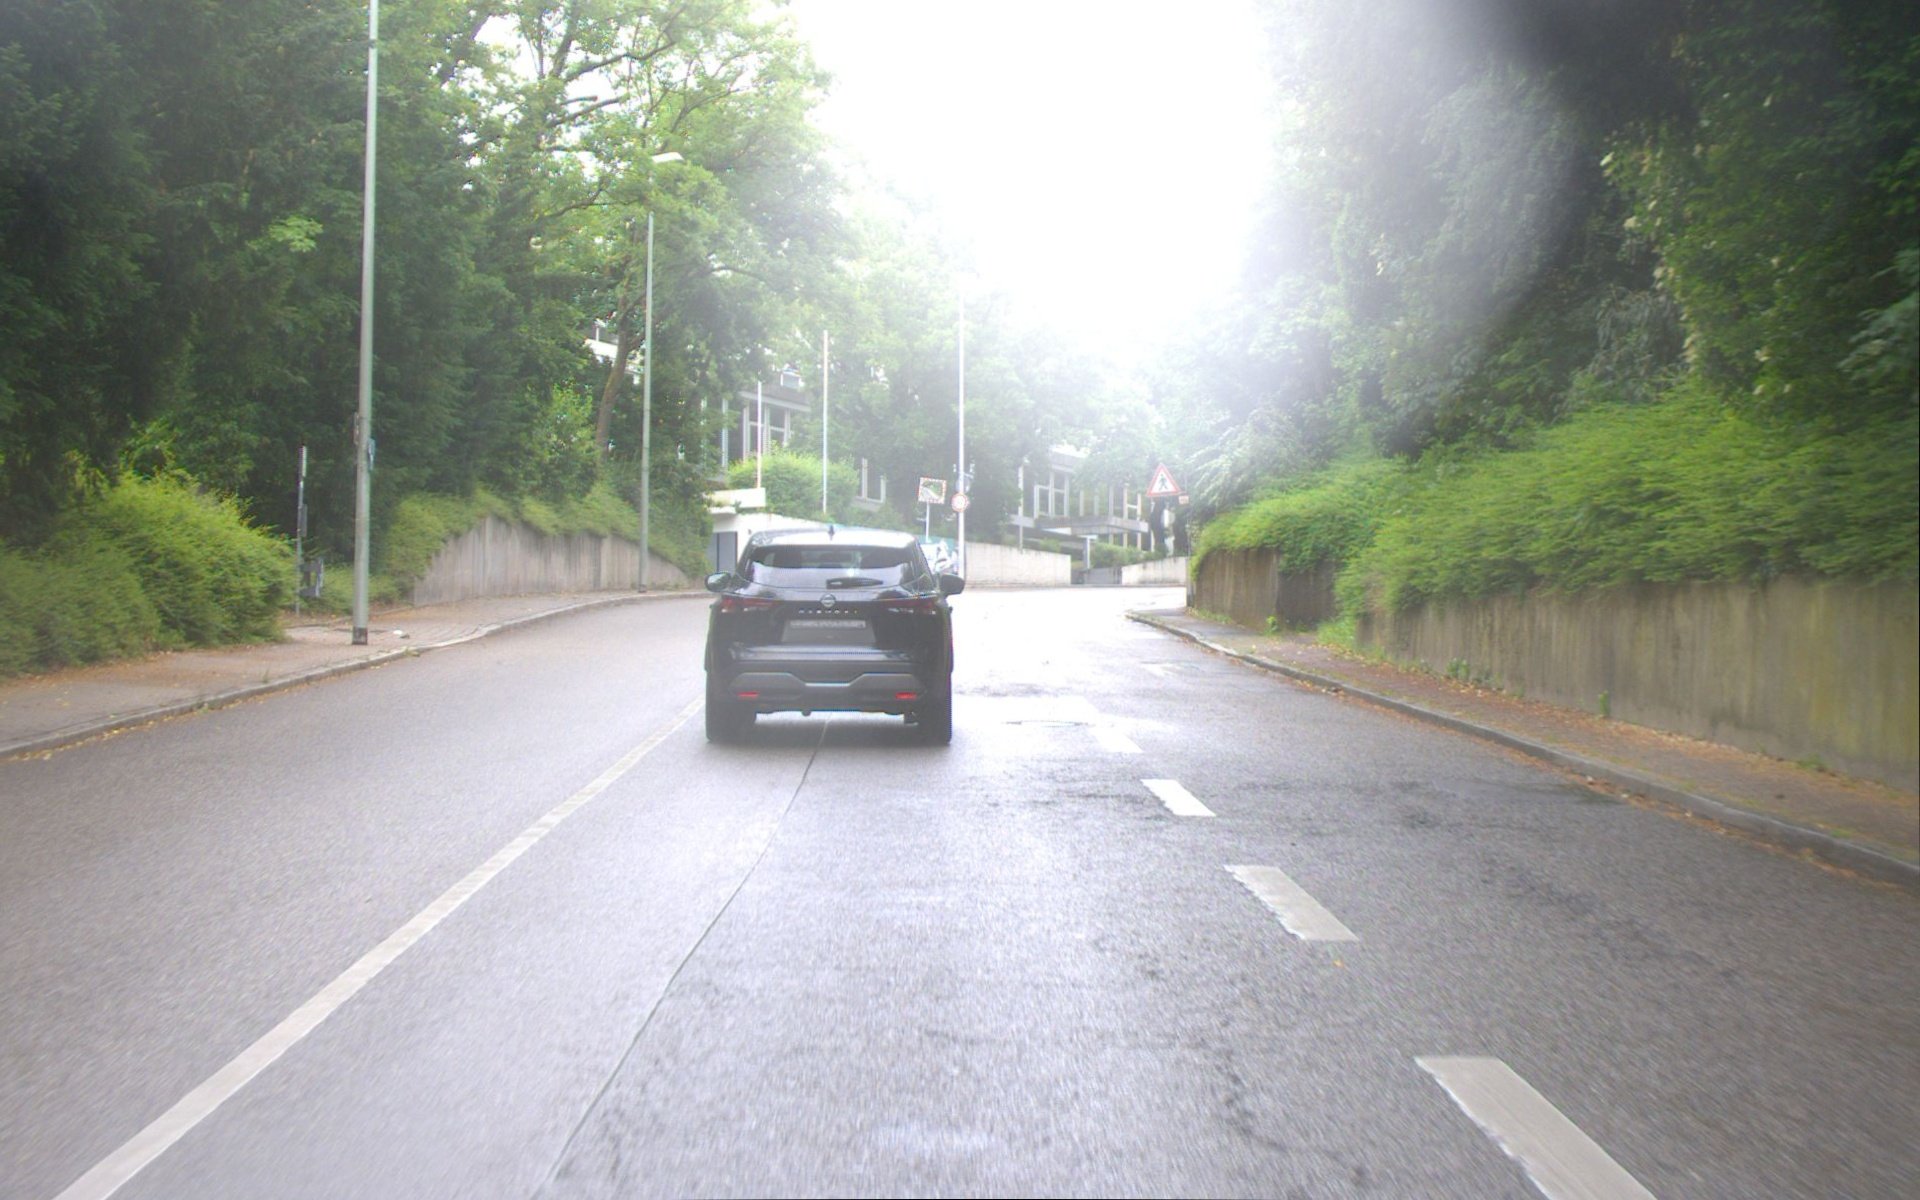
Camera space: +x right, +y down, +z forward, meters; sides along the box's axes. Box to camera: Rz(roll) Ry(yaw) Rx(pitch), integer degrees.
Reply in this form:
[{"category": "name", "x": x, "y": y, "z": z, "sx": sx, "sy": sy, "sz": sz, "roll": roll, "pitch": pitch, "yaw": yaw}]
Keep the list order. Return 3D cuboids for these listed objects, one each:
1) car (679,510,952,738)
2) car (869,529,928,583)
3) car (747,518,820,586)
[{"category": "car", "x": -1.065, "y": 0.128, "z": 26.531, "sx": 1.928, "sy": 1.607, "sz": 4.000, "roll": 1, "pitch": 1, "yaw": -1}, {"category": "car", "x": -1.790, "y": -1.285, "z": 99.376, "sx": 1.675, "sy": 1.491, "sz": 3.461, "roll": 1, "pitch": 1, "yaw": -1}, {"category": "car", "x": -4.581, "y": -1.270, "z": 89.870, "sx": 1.830, "sy": 1.705, "sz": 4.001, "roll": 1, "pitch": 1, "yaw": -2}]
